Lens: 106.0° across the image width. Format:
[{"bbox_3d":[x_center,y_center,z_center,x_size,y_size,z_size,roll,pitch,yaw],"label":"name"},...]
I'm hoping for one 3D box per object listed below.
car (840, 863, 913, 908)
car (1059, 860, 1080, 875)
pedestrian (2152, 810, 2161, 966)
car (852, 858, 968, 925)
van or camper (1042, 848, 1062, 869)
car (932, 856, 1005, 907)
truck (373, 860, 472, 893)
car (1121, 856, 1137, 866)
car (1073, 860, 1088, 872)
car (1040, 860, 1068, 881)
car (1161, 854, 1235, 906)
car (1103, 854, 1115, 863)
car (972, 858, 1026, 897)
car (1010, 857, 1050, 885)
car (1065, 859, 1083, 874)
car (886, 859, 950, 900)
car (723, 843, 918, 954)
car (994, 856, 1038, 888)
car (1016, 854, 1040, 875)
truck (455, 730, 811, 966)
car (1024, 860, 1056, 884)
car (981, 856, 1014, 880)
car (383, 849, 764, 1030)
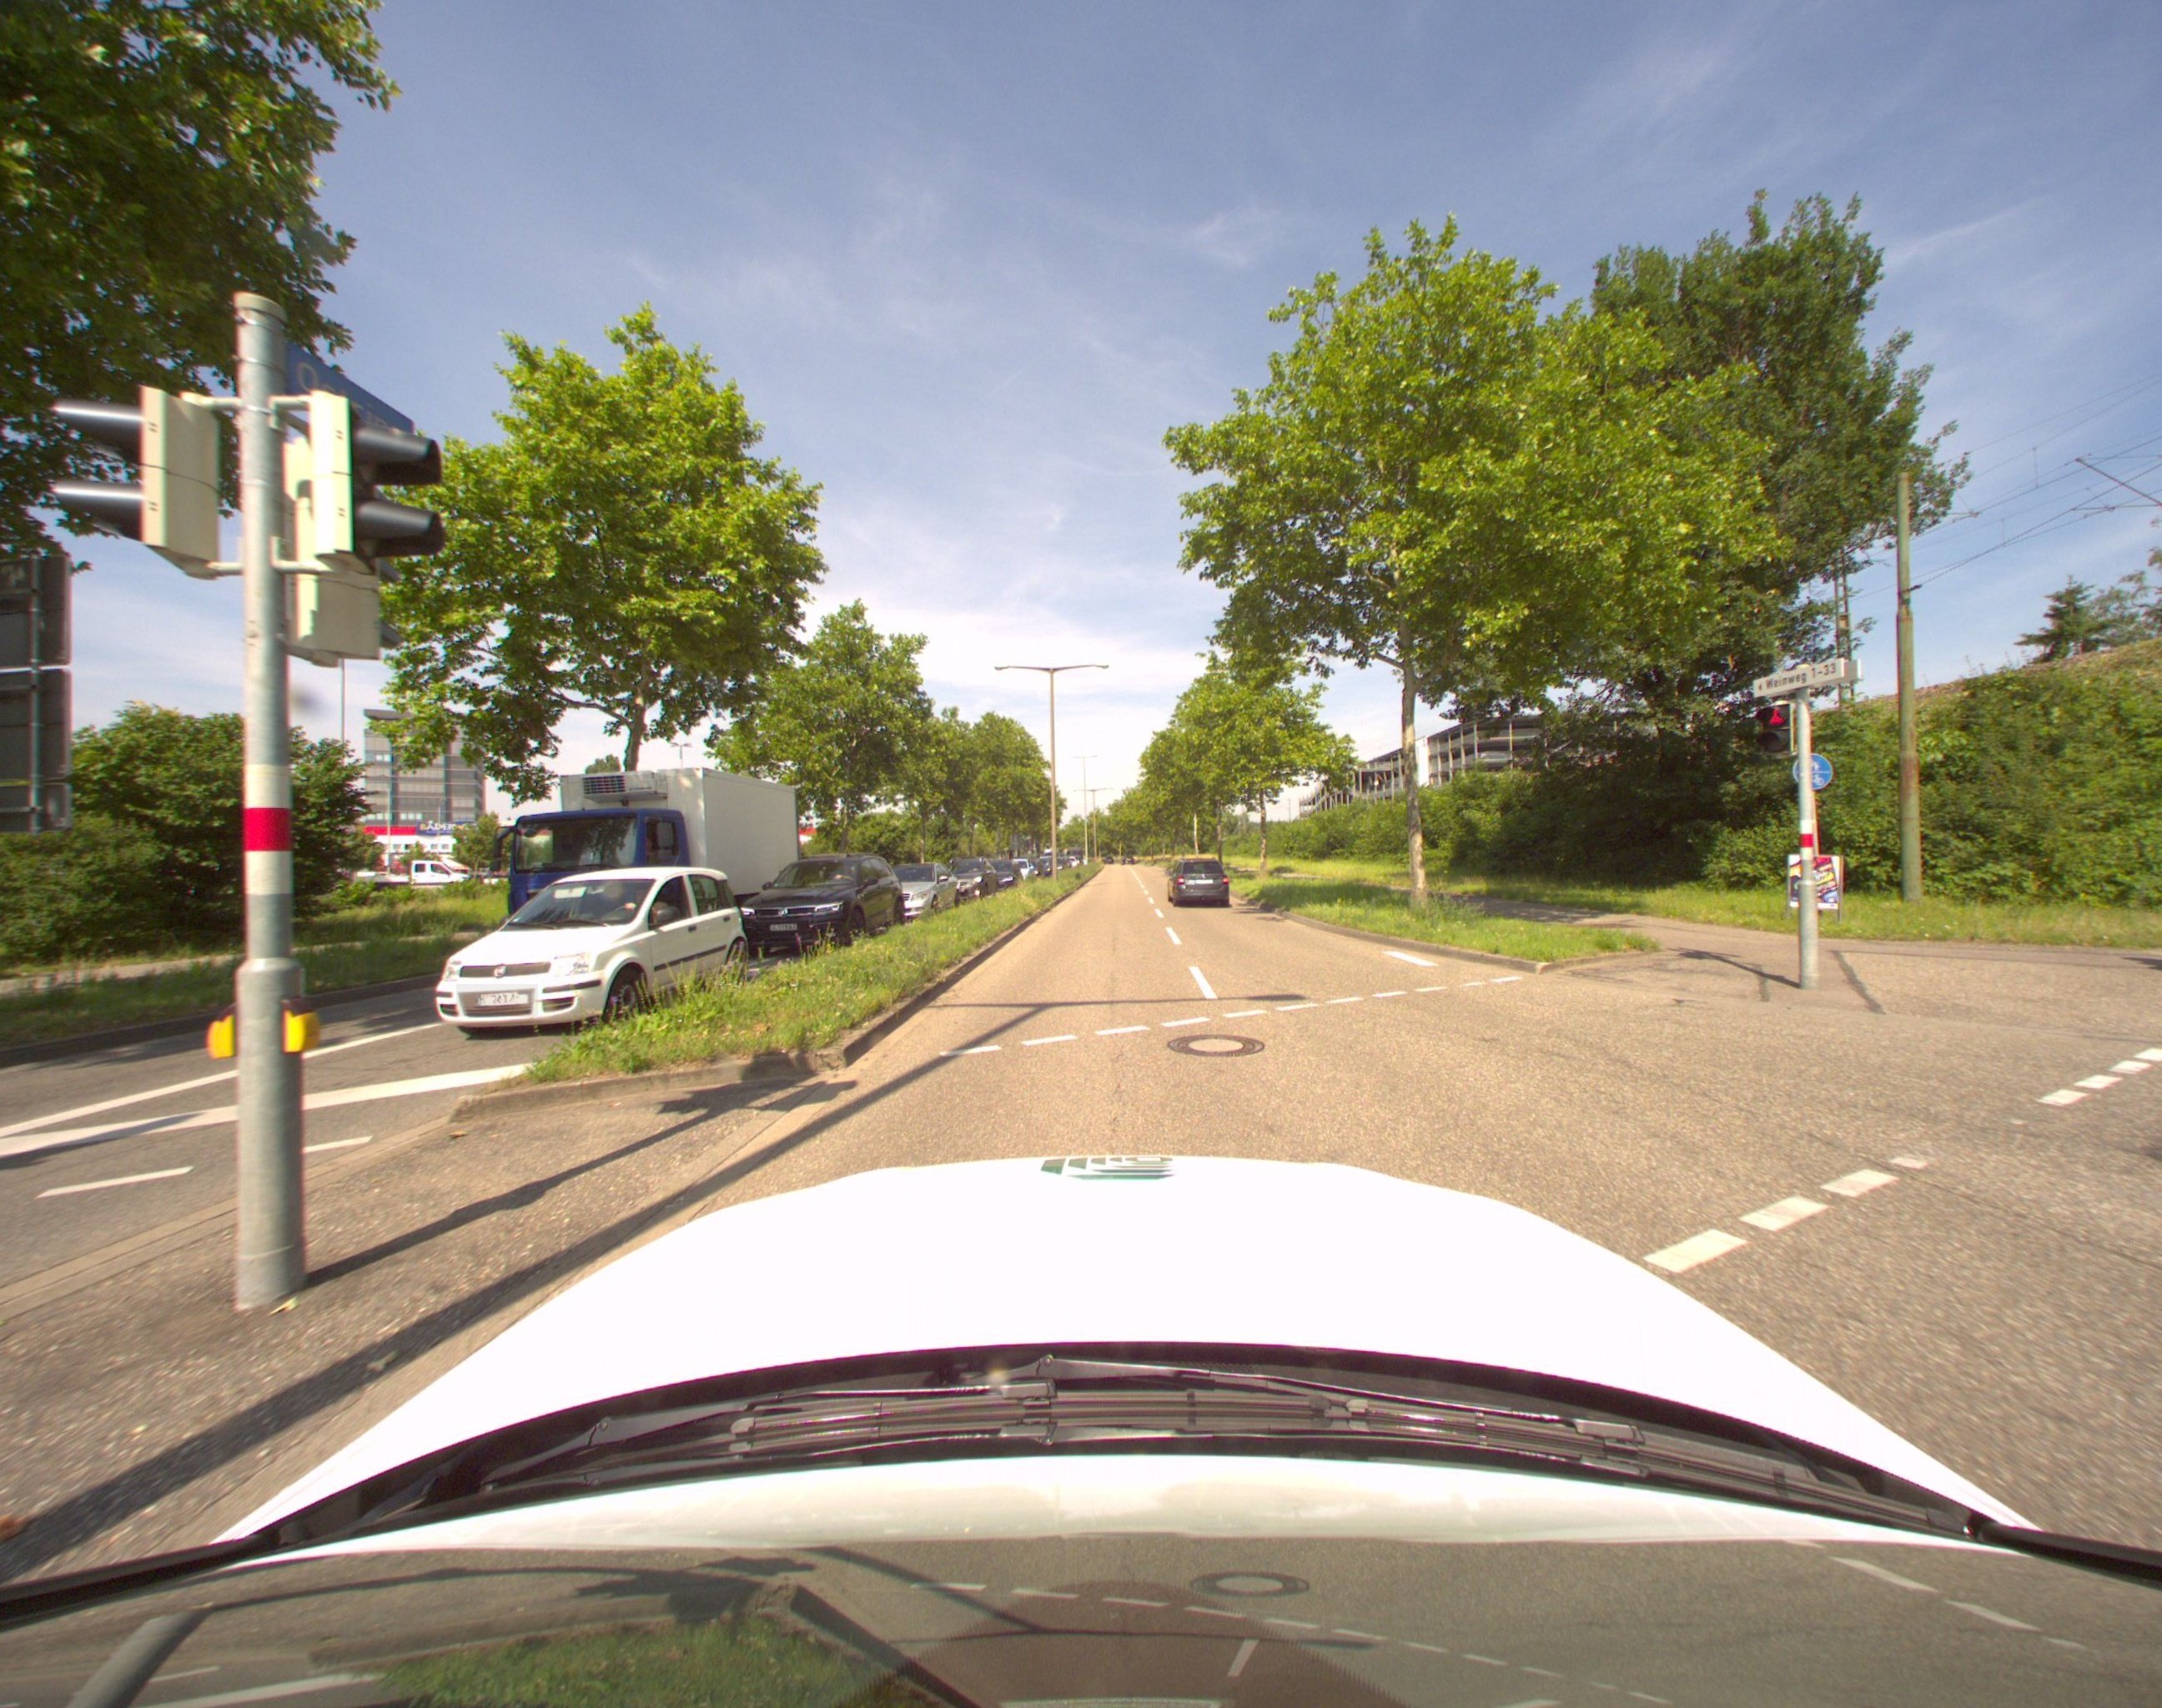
[{"bbox_3d":[-7.431,1.118,29.926,1.558,1.452,3.547,-4,0,3],"label":"car"},{"bbox_3d":[-1.144,1.328,81.238,1.776,1.459,4.475,-2,0,3],"label":"car"},{"bbox_3d":[11.612,0.345,8.100,0.864,1.611,0.778,-1,-1,2],"label":"pedestrian"},{"bbox_3d":[-4.271,0.882,21.110,1.789,1.468,4.526,-2,0,3],"label":"car"},{"bbox_3d":[-3.590,0.552,102.497,2.007,2.587,5.521,-2,0,3],"label":"van or camper"},{"bbox_3d":[-3.813,0.896,28.172,1.682,1.586,4.243,-2,0,3],"label":"car"},{"bbox_3d":[-45.826,1.526,56.818,5.251,2.128,1.977,-1,-1,-38],"label":"truck"},{"bbox_3d":[7.339,1.040,124.415,1.903,1.463,4.617,-1,1,-3],"label":"car"},{"bbox_3d":[-0.029,1.552,104.326,1.682,1.530,3.817,-2,-1,3],"label":"car"},{"bbox_3d":[-2.059,1.213,62.393,1.816,1.465,4.451,-2,0,1],"label":"car"},{"bbox_3d":[3.563,0.744,25.327,1.669,1.453,4.034,1,0,-1],"label":"car"},{"bbox_3d":[5.199,0.834,151.263,1.902,1.463,4.581,-1,0,-1],"label":"car"},{"bbox_3d":[-3.506,0.977,35.494,1.682,1.473,4.221,-3,0,3],"label":"car"},{"bbox_3d":[-2.958,0.954,48.330,1.751,1.530,4.831,-2,0,3],"label":"car"},{"bbox_3d":[-0.717,1.348,87.664,1.682,1.510,3.817,-2,0,3],"label":"car"},{"bbox_3d":[-6.846,1.022,34.582,1.682,1.530,4.085,-3,0,2],"label":"car"},{"bbox_3d":[-4.482,0.735,14.868,1.812,1.647,4.697,-2,-1,3],"label":"car"},{"bbox_3d":[-3.221,0.859,41.043,1.682,1.472,3.817,-2,0,3],"label":"car"},{"bbox_3d":[-4.848,0.969,75.050,1.682,1.858,4.039,-2,-1,3],"label":"car"},{"bbox_3d":[-7.963,-0.093,15.787,2.793,3.471,6.695,-3,0,2],"label":"truck"},{"bbox_3d":[-2.669,1.164,53.733,1.778,1.489,4.212,-2,0,2],"label":"car"},{"bbox_3d":[-5.735,0.954,56.398,1.682,1.530,3.942,-2,0,3],"label":"car"},{"bbox_3d":[-5.035,0.732,8.767,1.586,1.477,3.732,-2,0,3],"label":"car"}]
